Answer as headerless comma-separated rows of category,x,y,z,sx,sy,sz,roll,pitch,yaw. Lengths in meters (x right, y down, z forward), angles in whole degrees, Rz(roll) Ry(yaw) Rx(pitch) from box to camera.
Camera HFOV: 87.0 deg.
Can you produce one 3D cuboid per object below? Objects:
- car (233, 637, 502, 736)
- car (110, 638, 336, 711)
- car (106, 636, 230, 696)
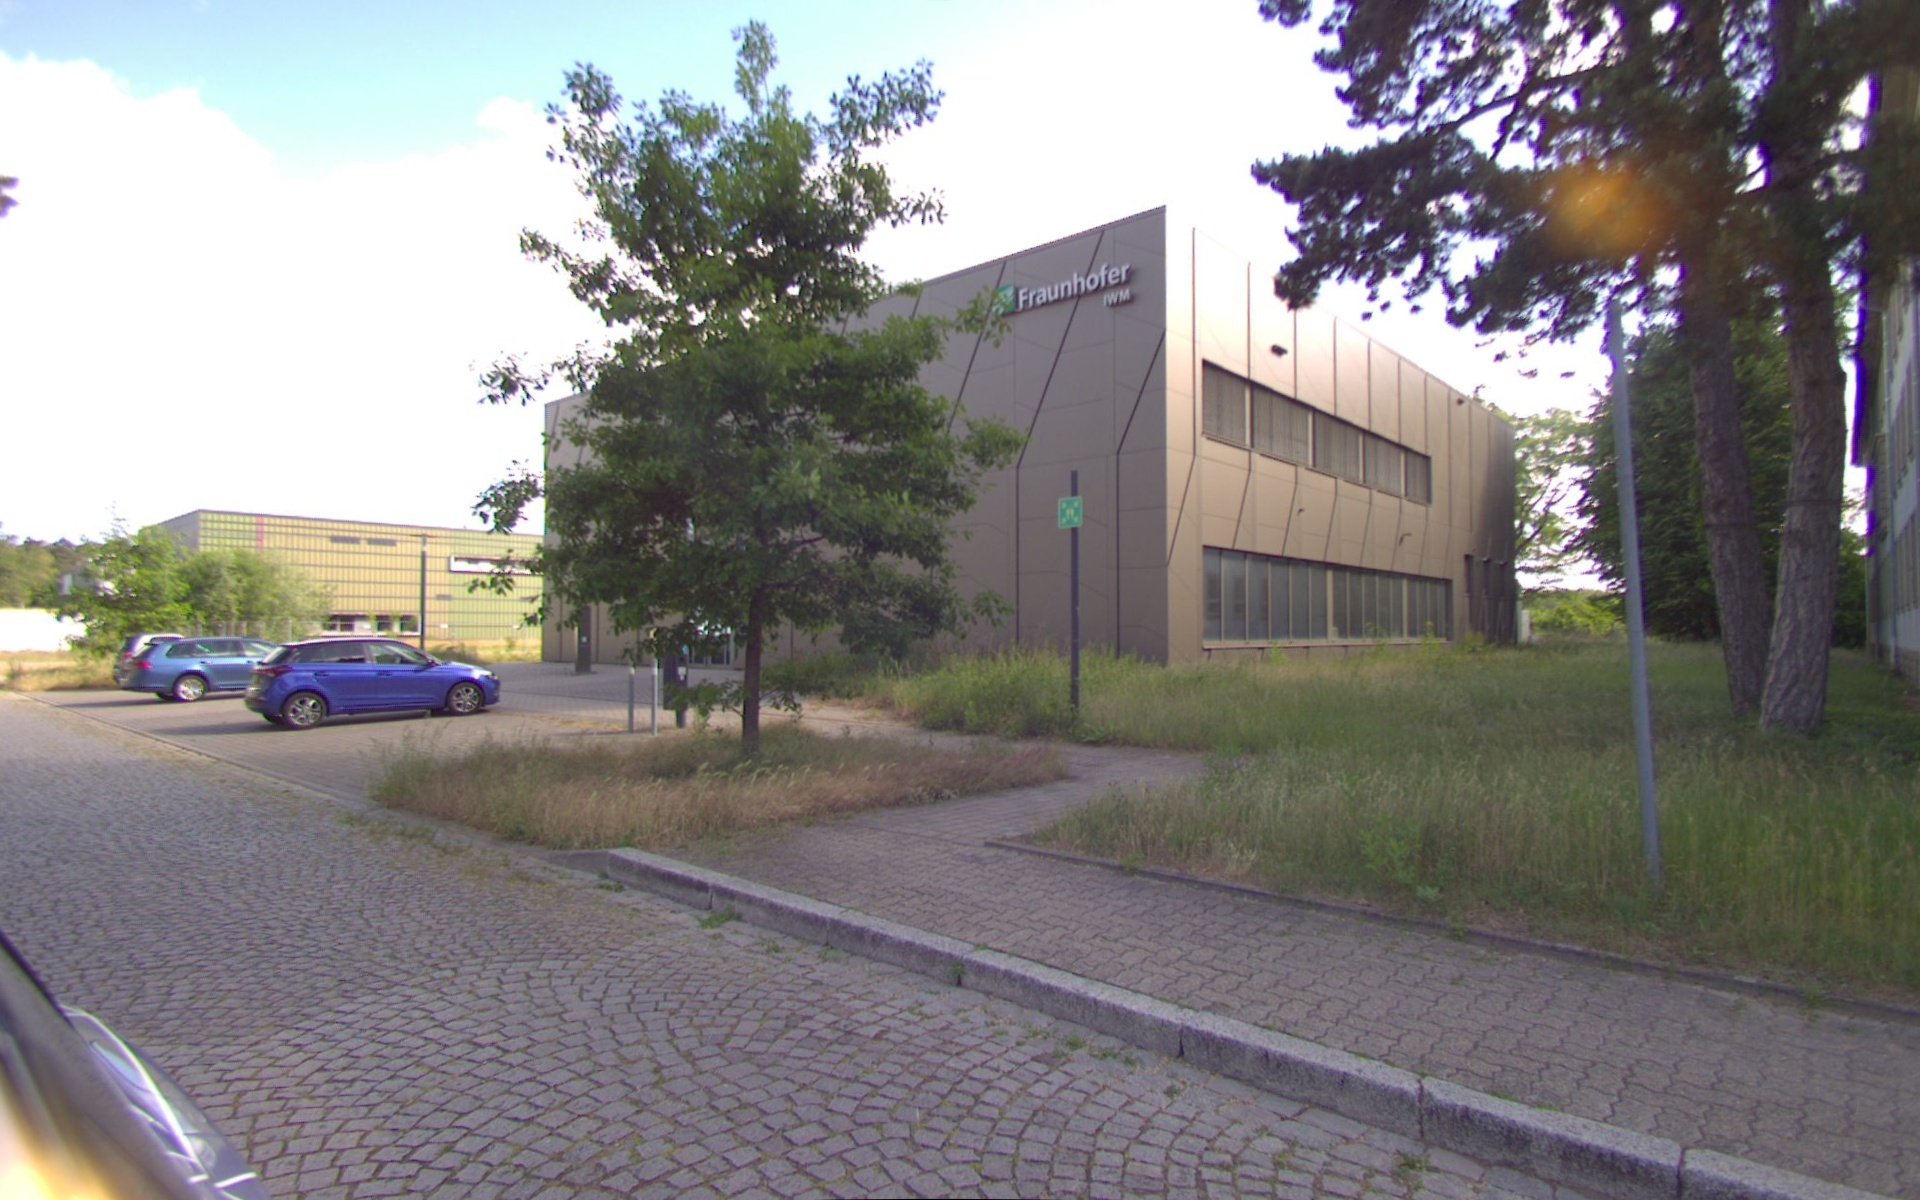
car,-10.533,1.459,18.174,1.735,1.479,3.865,-2,-2,44
car,-17.645,1.725,24.394,1.733,1.485,4.127,-2,-2,39
car,-23.028,1.885,29.457,1.480,1.580,2.619,-2,-2,40
